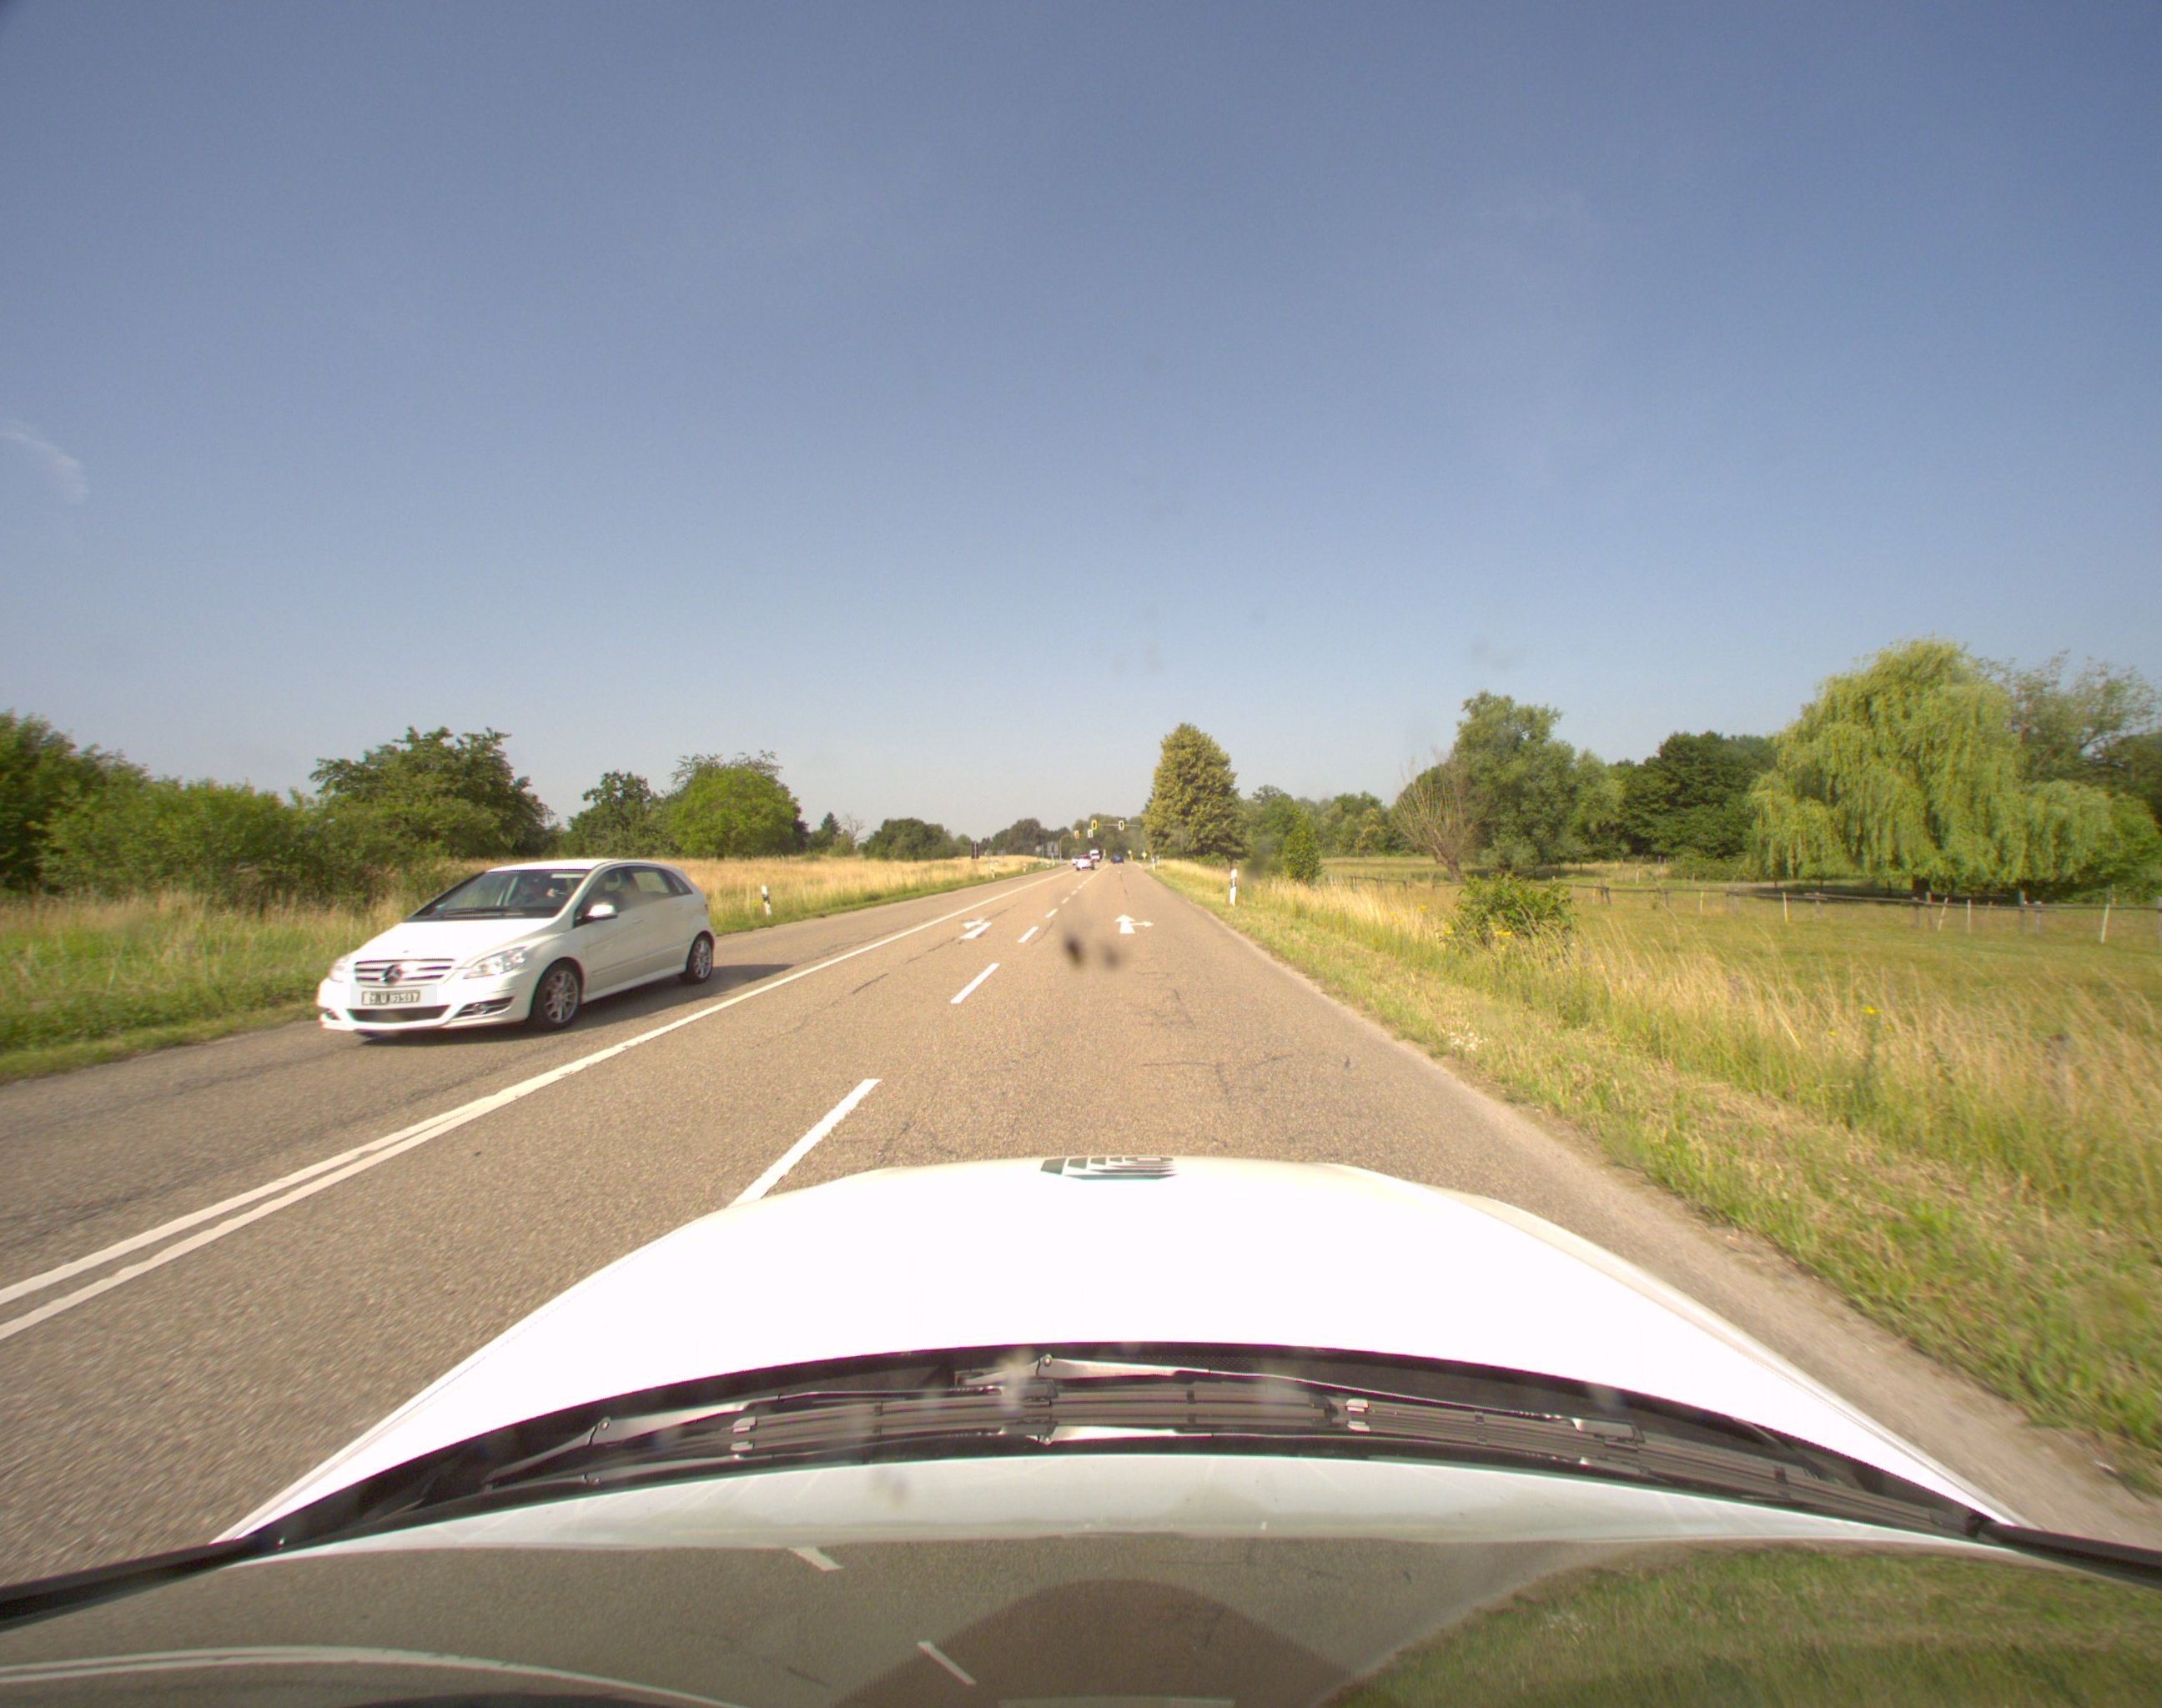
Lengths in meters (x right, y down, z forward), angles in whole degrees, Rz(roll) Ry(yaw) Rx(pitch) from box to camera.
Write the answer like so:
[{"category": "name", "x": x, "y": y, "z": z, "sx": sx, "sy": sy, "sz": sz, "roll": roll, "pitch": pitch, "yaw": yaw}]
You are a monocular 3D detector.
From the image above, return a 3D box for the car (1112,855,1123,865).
[{"category": "car", "x": 6.093, "y": 1.009, "z": 135.212, "sx": 1.809, "sy": 1.520, "sz": 4.003, "roll": 1, "pitch": 0, "yaw": 3}]

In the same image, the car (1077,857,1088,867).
[{"category": "car", "x": 0.230, "y": 1.437, "z": 149.167, "sx": 1.584, "sy": 1.728, "sz": 4.006, "roll": 1, "pitch": 0, "yaw": 5}]

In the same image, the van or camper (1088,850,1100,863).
[{"category": "van or camper", "x": 2.895, "y": 0.532, "z": 178.446, "sx": 2.255, "sy": 2.709, "sz": 5.267, "roll": 1, "pitch": 0, "yaw": 3}]

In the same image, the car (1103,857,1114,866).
[{"category": "car", "x": 5.452, "y": 1.477, "z": 160.567, "sx": 1.986, "sy": 1.816, "sz": 4.002, "roll": 1, "pitch": 0, "yaw": 2}]

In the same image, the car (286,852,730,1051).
[{"category": "car", "x": -5.660, "y": 0.814, "z": 8.871, "sx": 1.806, "sy": 1.585, "sz": 4.223, "roll": -2, "pitch": 0, "yaw": 0}]

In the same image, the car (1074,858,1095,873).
[{"category": "car", "x": 0.409, "y": 1.158, "z": 86.412, "sx": 1.891, "sy": 1.512, "sz": 4.004, "roll": 1, "pitch": 0, "yaw": 4}]
